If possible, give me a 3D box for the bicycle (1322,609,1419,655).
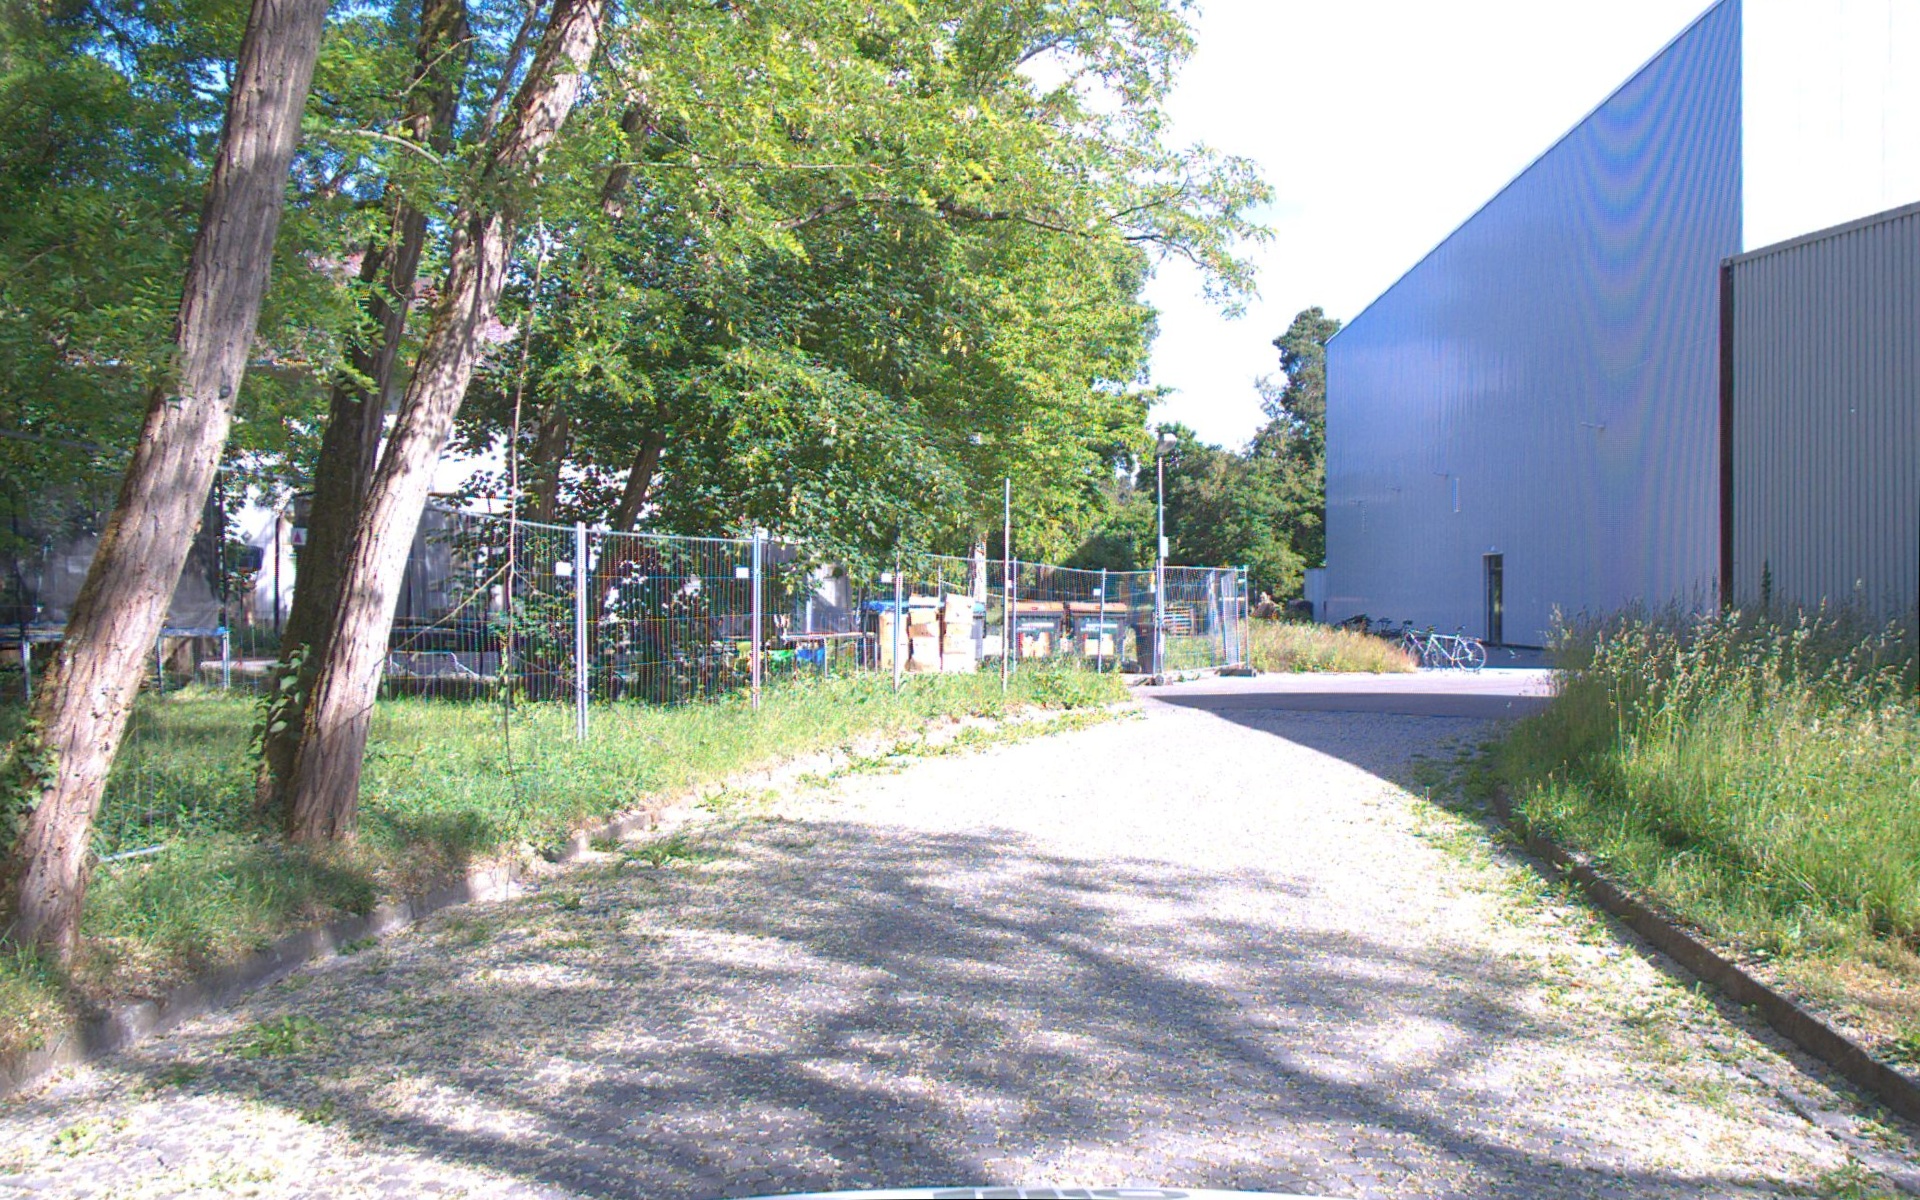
[{"bbox_3d":[11.799,0.919,47.626,2.574,1.288,1.141,0,0,6],"label":"bicycle"}]

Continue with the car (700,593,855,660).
[{"bbox_3d":[-5.640,0.834,51.606,4.615,1.935,1.999,-1,-1,-2],"label":"car"}]

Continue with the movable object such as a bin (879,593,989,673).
[{"bbox_3d":[-0.555,0.665,34.182,2.243,1.619,1.173,0,0,-4],"label":"movable object such as a bin"}]

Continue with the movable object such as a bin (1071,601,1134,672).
[{"bbox_3d":[2.959,0.750,34.412,1.220,1.470,0.702,0,0,-4],"label":"movable object such as a bin"}]

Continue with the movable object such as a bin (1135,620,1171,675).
[{"bbox_3d":[3.987,0.974,34.239,0.720,1.117,0.820,0,0,6],"label":"movable object such as a bin"}]

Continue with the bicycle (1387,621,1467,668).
[{"bbox_3d":[11.134,1.062,39.464,1.754,1.101,0.525,0,0,4],"label":"bicycle"}]

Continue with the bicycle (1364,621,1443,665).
[{"bbox_3d":[11.258,1.085,42.014,1.849,1.114,0.526,0,-1,1],"label":"bicycle"}]

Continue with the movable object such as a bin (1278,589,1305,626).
[{"bbox_3d":[18.702,0.414,93.251,1.388,2.049,1.126,0,0,6],"label":"movable object such as a bin"}]

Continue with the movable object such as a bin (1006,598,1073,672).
[{"bbox_3d":[1.647,0.723,34.419,1.311,1.510,0.806,0,0,-4],"label":"movable object such as a bin"}]

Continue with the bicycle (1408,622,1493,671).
[{"bbox_3d":[10.940,1.029,36.898,1.763,1.080,0.459,0,0,-3],"label":"bicycle"}]
